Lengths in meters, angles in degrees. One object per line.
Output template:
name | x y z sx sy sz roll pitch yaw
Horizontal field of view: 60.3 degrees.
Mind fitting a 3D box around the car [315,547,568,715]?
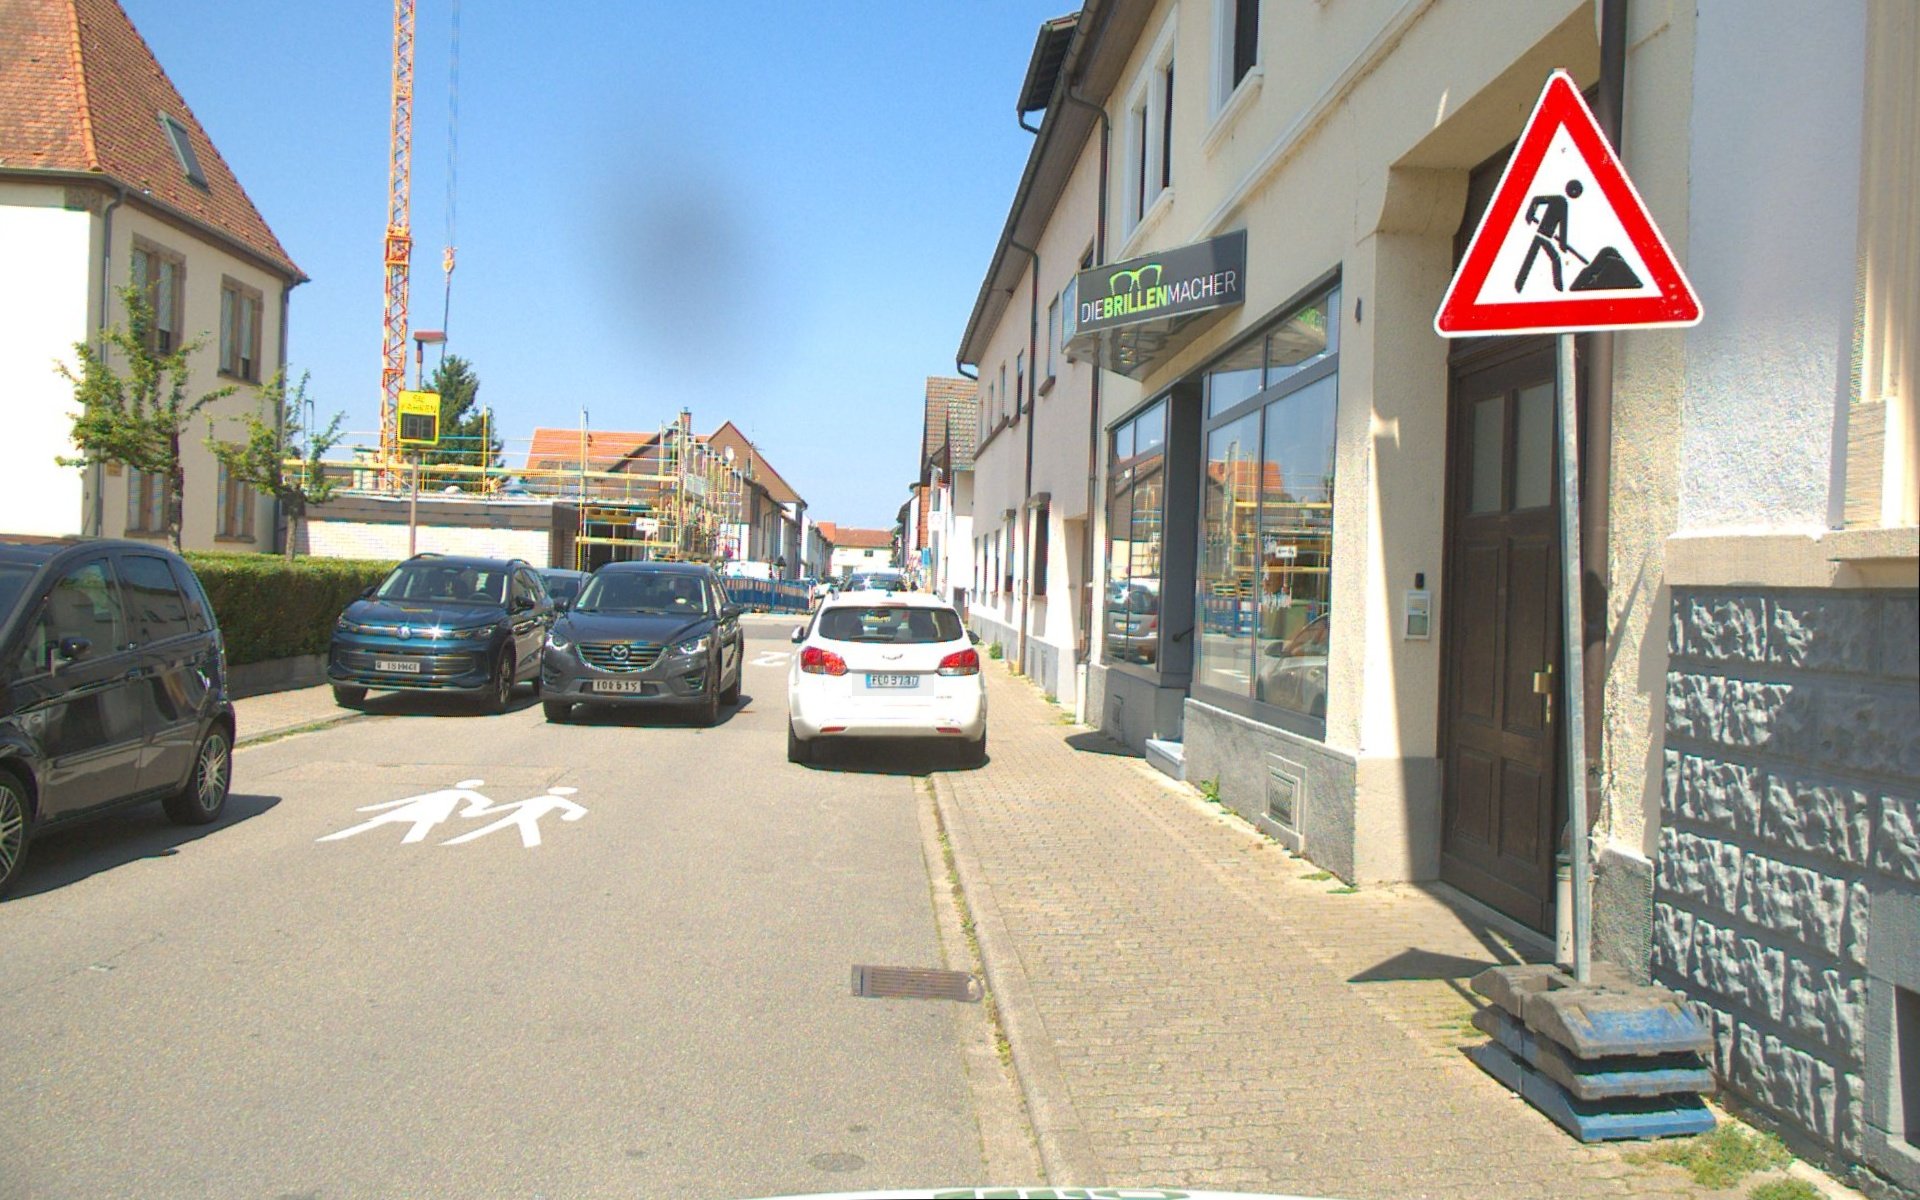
car | -5.812 0.297 19.073 1.790 1.659 4.214 2 0 -4

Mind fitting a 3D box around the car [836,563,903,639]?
car | -2.227 -0.010 40.647 1.533 1.641 3.541 2 3 -3

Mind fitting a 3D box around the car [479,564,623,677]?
car | -5.971 0.278 24.498 1.408 1.500 3.783 2 0 -4

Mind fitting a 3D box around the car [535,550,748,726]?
car | -3.452 0.357 18.654 1.845 1.697 4.150 2 0 -5

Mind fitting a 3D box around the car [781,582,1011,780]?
car | -0.727 0.652 15.771 1.850 1.569 4.238 2 0 -6

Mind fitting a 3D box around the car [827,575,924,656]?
car | -1.869 0.288 35.484 1.848 1.583 3.890 -1 1 -6

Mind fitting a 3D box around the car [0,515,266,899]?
car | -4.986 0.412 8.248 1.605 1.657 3.766 2 1 -4
